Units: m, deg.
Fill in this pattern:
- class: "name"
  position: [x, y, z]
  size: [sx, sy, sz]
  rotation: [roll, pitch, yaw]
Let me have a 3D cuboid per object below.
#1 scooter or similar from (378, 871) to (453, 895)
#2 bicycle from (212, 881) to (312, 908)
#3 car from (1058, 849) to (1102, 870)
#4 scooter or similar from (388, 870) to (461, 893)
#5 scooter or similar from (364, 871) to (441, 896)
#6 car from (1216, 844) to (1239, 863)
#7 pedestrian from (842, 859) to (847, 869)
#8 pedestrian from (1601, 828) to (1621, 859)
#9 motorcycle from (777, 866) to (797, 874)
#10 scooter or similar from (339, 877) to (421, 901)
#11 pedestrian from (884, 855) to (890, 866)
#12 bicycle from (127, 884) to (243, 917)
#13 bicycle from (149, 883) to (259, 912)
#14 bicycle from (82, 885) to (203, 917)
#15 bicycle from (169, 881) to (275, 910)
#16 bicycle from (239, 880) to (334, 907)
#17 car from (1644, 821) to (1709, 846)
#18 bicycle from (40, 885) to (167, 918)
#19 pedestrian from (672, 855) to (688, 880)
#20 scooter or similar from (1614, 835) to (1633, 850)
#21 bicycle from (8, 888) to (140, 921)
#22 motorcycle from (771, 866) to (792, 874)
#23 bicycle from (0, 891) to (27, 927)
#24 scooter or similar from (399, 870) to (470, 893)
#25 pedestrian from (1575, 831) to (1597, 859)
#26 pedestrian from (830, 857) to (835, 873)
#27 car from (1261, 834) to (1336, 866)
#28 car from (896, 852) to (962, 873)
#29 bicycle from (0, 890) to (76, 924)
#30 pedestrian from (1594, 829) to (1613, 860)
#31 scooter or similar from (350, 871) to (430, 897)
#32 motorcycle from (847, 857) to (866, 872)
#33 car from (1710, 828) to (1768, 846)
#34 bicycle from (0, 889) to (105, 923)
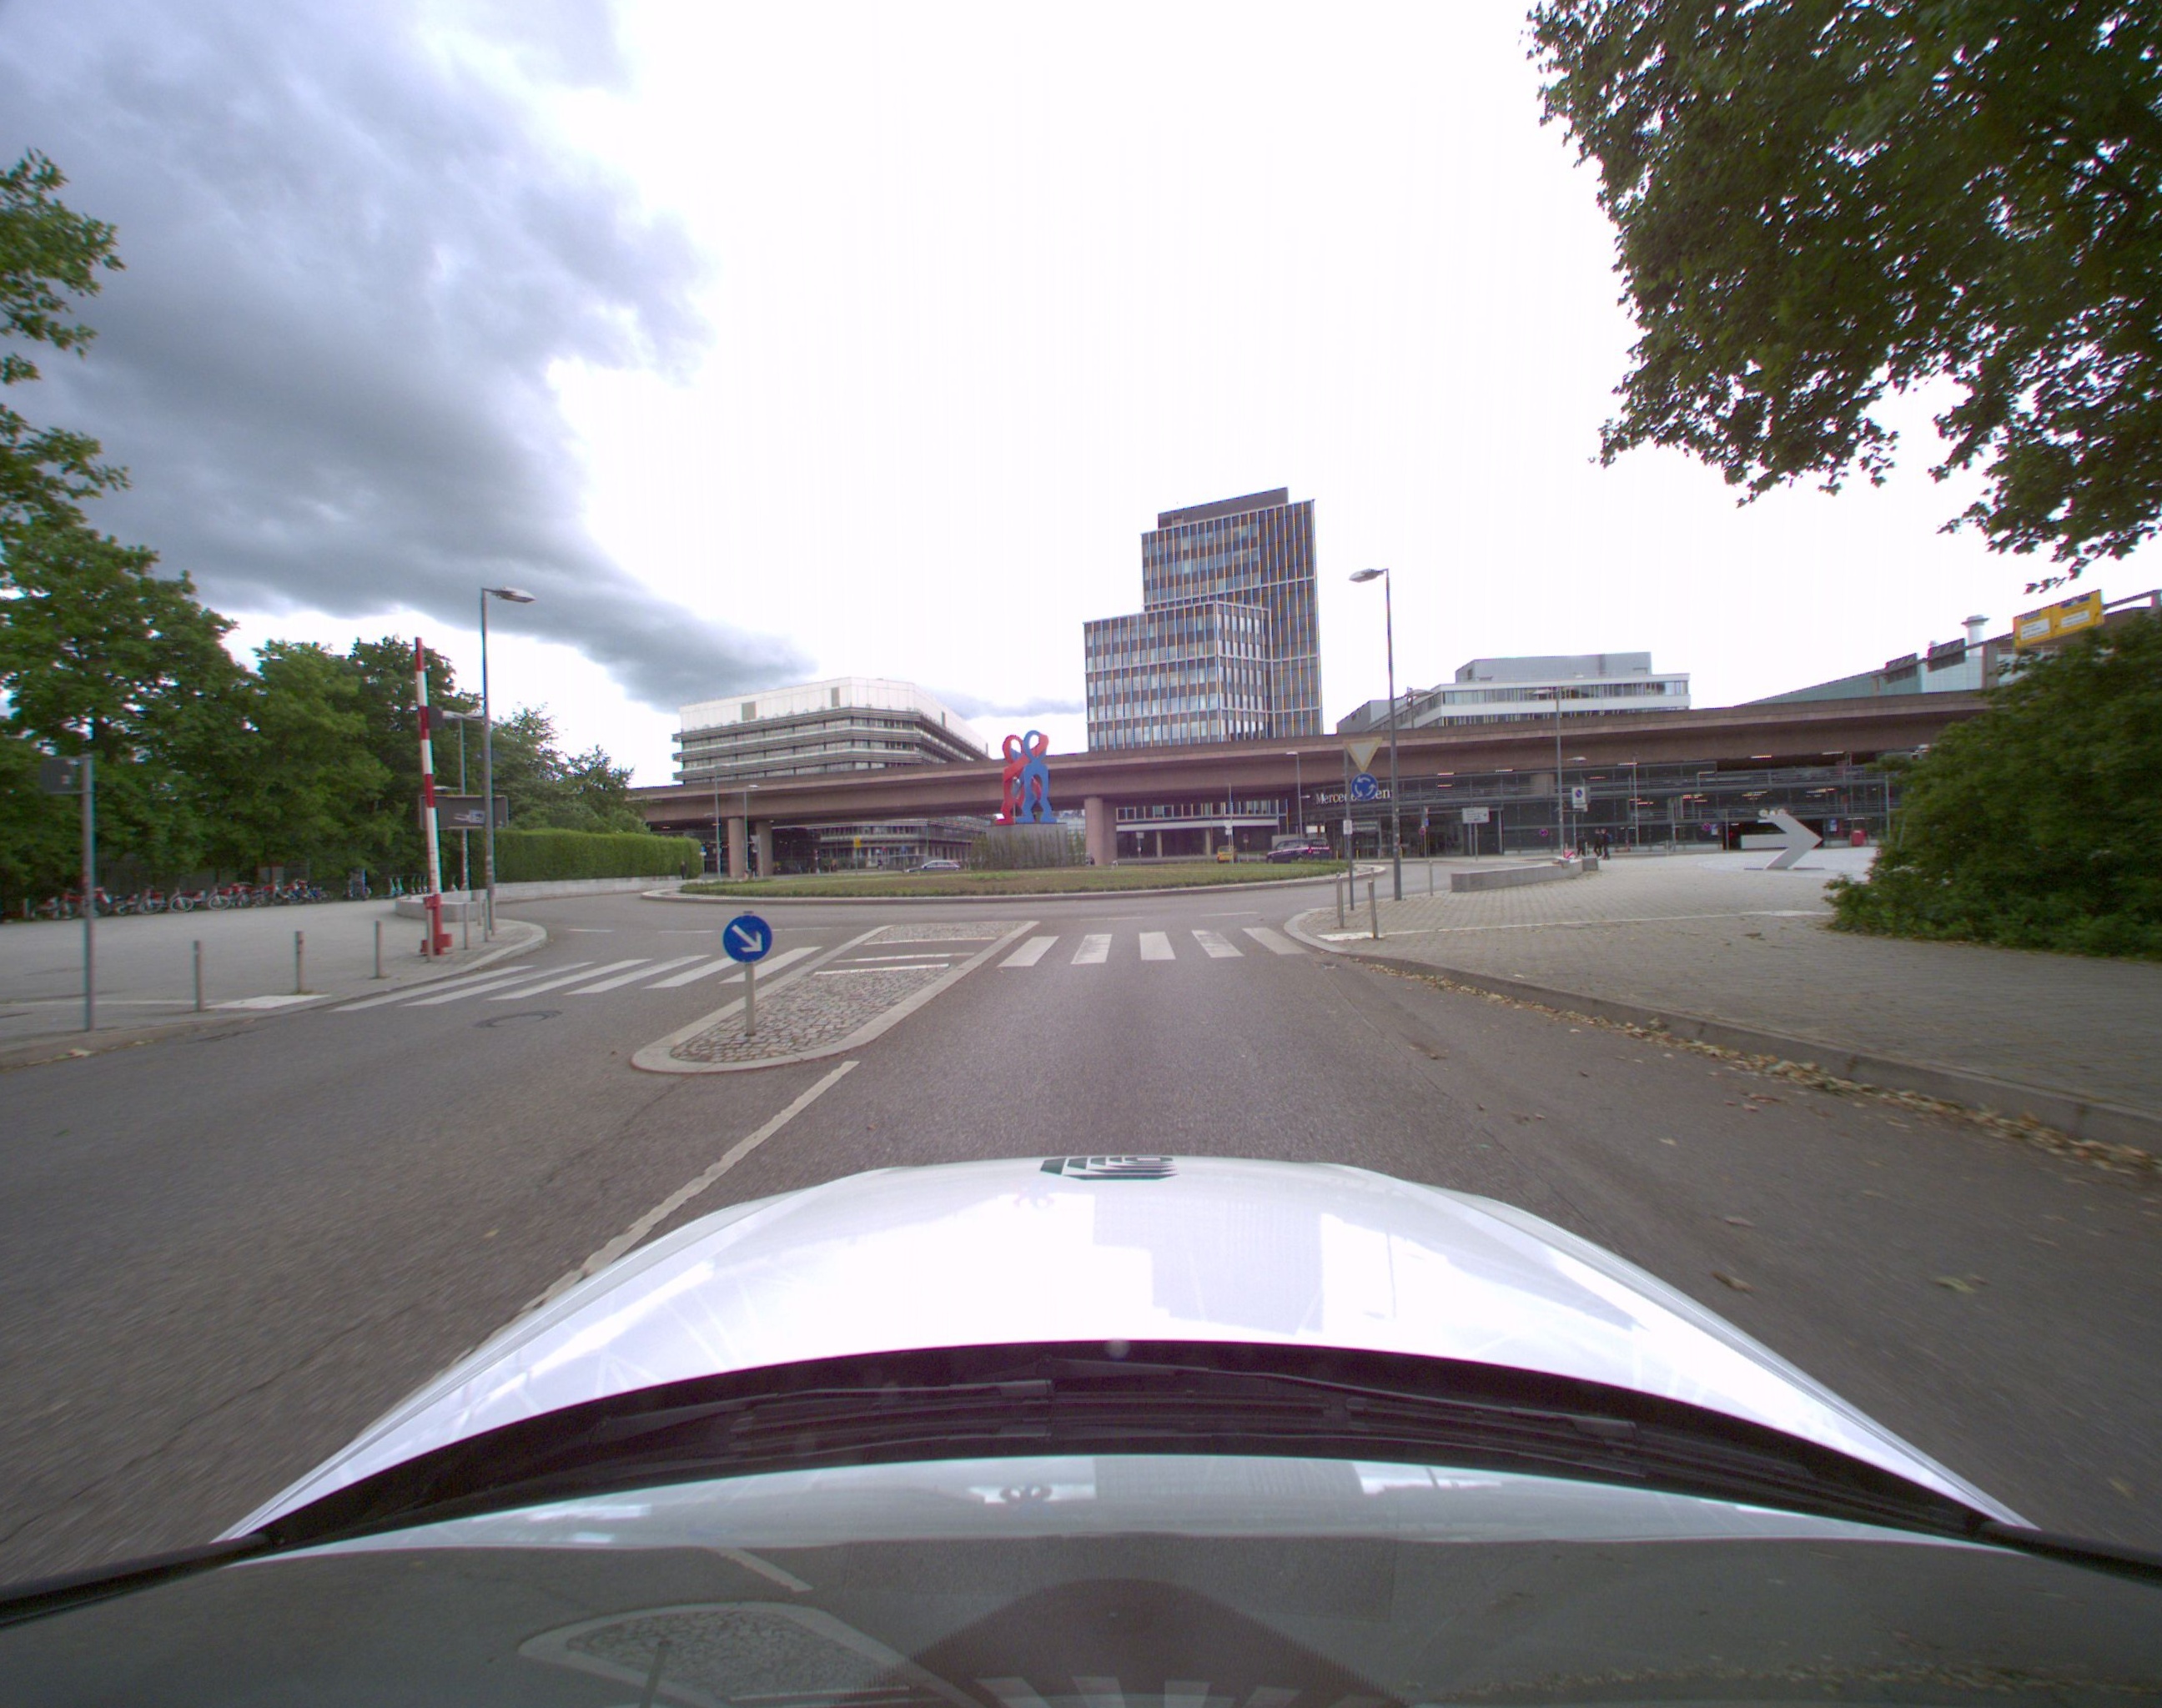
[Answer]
- class: "scooter or similar"
  position: [-37.493, 1.602, 45.939]
  size: [3.188, 1.249, 0.769]
  rotation: [-1, -1, -16]
- class: "bicycle"
  position: [-37.000, 1.821, 36.836]
  size: [3.188, 1.097, 0.769]
  rotation: [-1, -1, -16]
- class: "car"
  position: [-0.044, 0.459, 71.774]
  size: [1.974, 1.772, 4.026]
  rotation: [-2, -1, 34]
- class: "scooter or similar"
  position: [-37.857, 1.568, 46.991]
  size: [3.188, 1.249, 0.769]
  rotation: [-1, -1, -16]
- class: "scooter or similar"
  position: [-37.082, 1.607, 44.541]
  size: [3.188, 1.249, 0.769]
  rotation: [-1, -1, -16]
- class: "car"
  position: [16.127, -0.072, 89.432]
  size: [1.978, 2.014, 4.018]
  rotation: [-1, 0, 17]
- class: "pedestrian"
  position: [-45.157, 1.932, 155.410]
  size: [0.779, 2.014, 0.665]
  rotation: [-1, -1, -24]
- class: "pedestrian"
  position: [30.625, -0.613, 47.046]
  size: [0.823, 1.740, 0.694]
  rotation: [-2, -1, 23]
- class: "motorcycle"
  position: [-42.172, 2.312, 116.863]
  size: [2.630, 1.112, 1.044]
  rotation: [-1, -1, 20]
- class: "scooter or similar"
  position: [-36.561, 1.827, 42.543]
  size: [3.188, 1.097, 0.769]
  rotation: [-1, -1, -16]
- class: "pedestrian"
  position: [-36.697, 1.157, 154.173]
  size: [0.773, 2.013, 0.671]
  rotation: [-2, 0, 0]
- class: "bicycle"
  position: [-36.469, 1.891, 33.200]
  size: [3.188, 1.097, 0.769]
  rotation: [-3, 0, -16]
- class: "bicycle"
  position: [-36.892, 1.826, 34.292]
  size: [3.188, 1.097, 0.769]
  rotation: [-1, -1, -16]
- class: "bicycle"
  position: [-36.921, 1.834, 32.083]
  size: [3.188, 1.097, 0.769]
  rotation: [-2, 0, -16]
- class: "bicycle"
  position: [-37.216, 1.787, 35.325]
  size: [3.188, 1.097, 0.769]
  rotation: [-1, -1, -16]
- class: "bicycle"
  position: [-37.073, 1.826, 38.047]
  size: [3.188, 1.097, 0.769]
  rotation: [-1, -1, -16]
- class: "car"
  position: [50.595, -1.711, 69.252]
  size: [3.956, 1.904, 2.009]
  rotation: [-2, 0, 16]
- class: "bicycle"
  position: [-37.066, 1.794, 30.929]
  size: [3.188, 1.097, 0.769]
  rotation: [-1, -1, -16]
- class: "pedestrian"
  position: [-33.493, 1.117, 68.082]
  size: [1.043, 2.014, 0.596]
  rotation: [-1, -1, -12]
- class: "scooter or similar"
  position: [45.166, -0.930, 67.784]
  size: [1.221, 1.194, 0.357]
  rotation: [-1, -1, 15]
- class: "bicycle"
  position: [-36.979, 1.843, 29.953]
  size: [3.187, 1.097, 0.769]
  rotation: [-1, -1, -16]
- class: "motorcycle"
  position: [-42.515, 2.312, 115.606]
  size: [2.630, 1.112, 1.044]
  rotation: [-1, -1, 20]
- class: "bicycle"
  position: [-35.986, 1.791, 25.901]
  size: [3.187, 1.097, 0.769]
  rotation: [-1, -1, -16]
- class: "scooter or similar"
  position: [-38.002, 1.607, 47.922]
  size: [3.188, 1.249, 0.769]
  rotation: [-1, -1, -16]
- class: "pedestrian"
  position: [28.723, -0.490, 46.307]
  size: [0.826, 1.570, 0.691]
  rotation: [-1, -1, 6]
- class: "pedestrian"
  position: [-31.397, 1.341, 102.945]
  size: [0.588, 2.014, 0.596]
  rotation: [-1, -1, -12]
- class: "car"
  position: [14.754, -0.232, 55.468]
  size: [2.289, 2.014, 4.740]
  rotation: [-1, -1, -28]
- class: "car"
  position: [-11.805, 0.659, 63.109]
  size: [4.923, 1.460, 1.991]
  rotation: [-1, 0, -13]
- class: "bicycle"
  position: [-36.539, 1.815, 27.652]
  size: [3.187, 1.097, 0.769]
  rotation: [-1, -1, -16]
- class: "pedestrian"
  position: [29.861, -0.531, 46.537]
  size: [0.823, 1.740, 0.694]
  rotation: [-2, -1, 27]
- class: "scooter or similar"
  position: [-36.830, 1.600, 43.450]
  size: [3.188, 1.249, 0.769]
  rotation: [-1, -1, -16]
- class: "motorcycle"
  position: [-18.215, 0.851, 66.149]
  size: [0.664, 1.251, 1.890]
  rotation: [-1, 0, 10]
- class: "car"
  position: [65.100, -1.672, 80.603]
  size: [3.956, 1.574, 2.009]
  rotation: [-2, 0, 16]
- class: "bicycle"
  position: [-36.694, 1.828, 28.616]
  size: [3.187, 1.097, 0.769]
  rotation: [-1, -1, -16]
